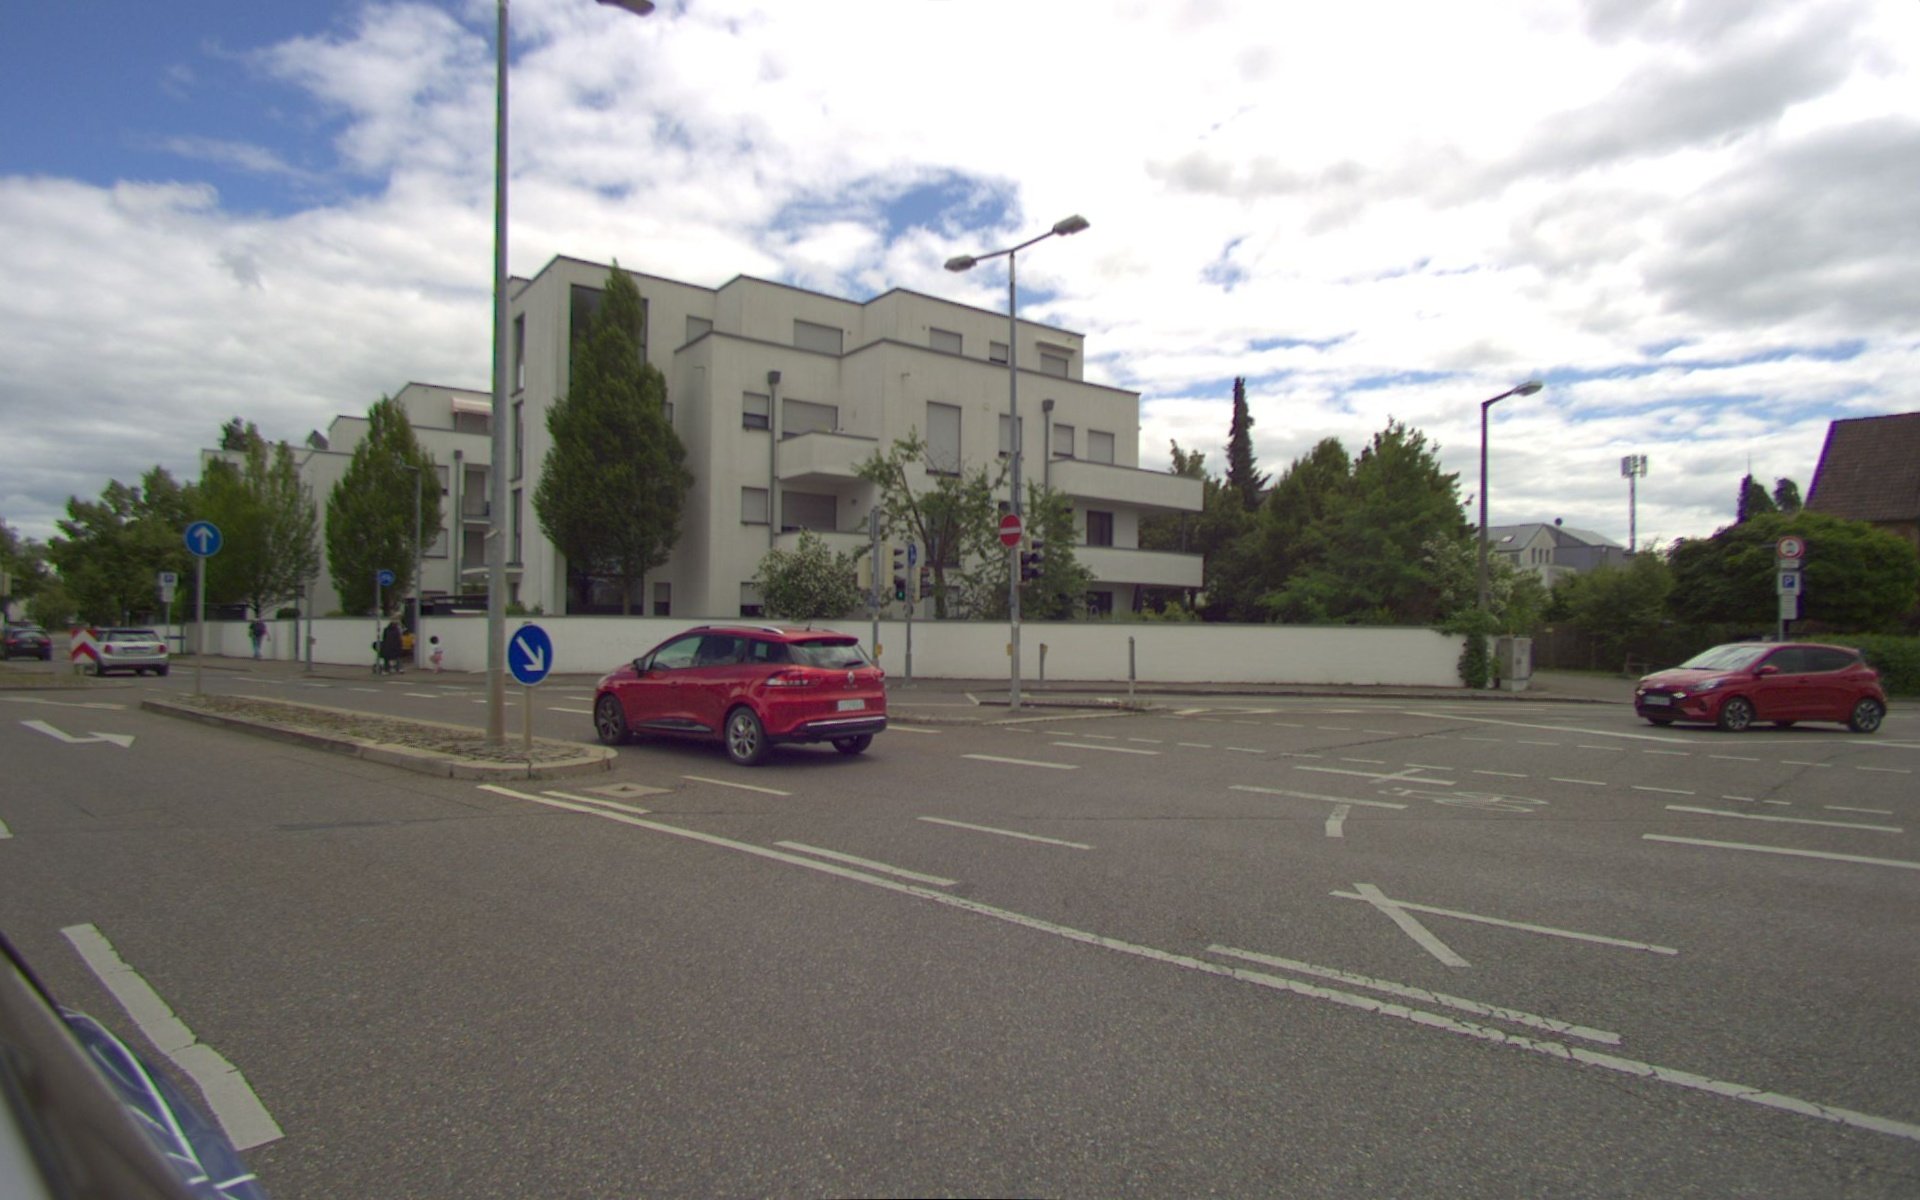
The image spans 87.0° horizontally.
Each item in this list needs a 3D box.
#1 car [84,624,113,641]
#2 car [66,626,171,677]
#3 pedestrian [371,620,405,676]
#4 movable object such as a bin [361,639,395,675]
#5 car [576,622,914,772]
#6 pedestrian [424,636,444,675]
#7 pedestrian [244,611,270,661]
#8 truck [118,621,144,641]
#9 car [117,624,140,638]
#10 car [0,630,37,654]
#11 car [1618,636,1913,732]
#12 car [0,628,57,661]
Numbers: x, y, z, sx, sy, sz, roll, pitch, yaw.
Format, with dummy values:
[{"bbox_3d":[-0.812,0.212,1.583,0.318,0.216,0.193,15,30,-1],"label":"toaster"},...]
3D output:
[{"bbox_3d":[-85.381,3.244,100.333,1.887,1.665,4.009,2,-3,-36],"label":"car"},{"bbox_3d":[-25.192,1.519,30.259,3.814,1.420,1.627,-1,-3,38],"label":"car"},{"bbox_3d":[-16.376,1.374,28.971,0.731,1.554,0.526,-2,2,39],"label":"pedestrian"},{"bbox_3d":[-16.961,1.654,29.470,0.985,0.967,0.492,-1,2,39],"label":"movable object such as a bin"},{"bbox_3d":[-2.612,1.008,11.812,4.063,1.459,1.703,-1,-3,40],"label":"car"},{"bbox_3d":[-14.956,1.563,28.780,0.444,1.070,0.322,-2,1,40],"label":"pedestrian"},{"bbox_3d":[-28.061,1.420,40.395,0.871,1.962,0.641,-1,0,42],"label":"pedestrian"},{"bbox_3d":[-117.224,4.424,143.127,2.601,2.794,6.270,2,-2,-38],"label":"truck"},{"bbox_3d":[-100.936,3.812,122.924,1.860,1.628,4.009,2,-3,-36],"label":"car"},{"bbox_3d":[-60.490,2.678,64.577,3.945,1.455,1.780,-1,-3,40],"label":"car"},{"bbox_3d":[13.509,1.396,17.115,3.646,1.458,1.777,2,-3,-5],"label":"car"},{"bbox_3d":[-41.914,1.983,45.319,3.916,1.401,1.702,-1,-4,41],"label":"car"}]
